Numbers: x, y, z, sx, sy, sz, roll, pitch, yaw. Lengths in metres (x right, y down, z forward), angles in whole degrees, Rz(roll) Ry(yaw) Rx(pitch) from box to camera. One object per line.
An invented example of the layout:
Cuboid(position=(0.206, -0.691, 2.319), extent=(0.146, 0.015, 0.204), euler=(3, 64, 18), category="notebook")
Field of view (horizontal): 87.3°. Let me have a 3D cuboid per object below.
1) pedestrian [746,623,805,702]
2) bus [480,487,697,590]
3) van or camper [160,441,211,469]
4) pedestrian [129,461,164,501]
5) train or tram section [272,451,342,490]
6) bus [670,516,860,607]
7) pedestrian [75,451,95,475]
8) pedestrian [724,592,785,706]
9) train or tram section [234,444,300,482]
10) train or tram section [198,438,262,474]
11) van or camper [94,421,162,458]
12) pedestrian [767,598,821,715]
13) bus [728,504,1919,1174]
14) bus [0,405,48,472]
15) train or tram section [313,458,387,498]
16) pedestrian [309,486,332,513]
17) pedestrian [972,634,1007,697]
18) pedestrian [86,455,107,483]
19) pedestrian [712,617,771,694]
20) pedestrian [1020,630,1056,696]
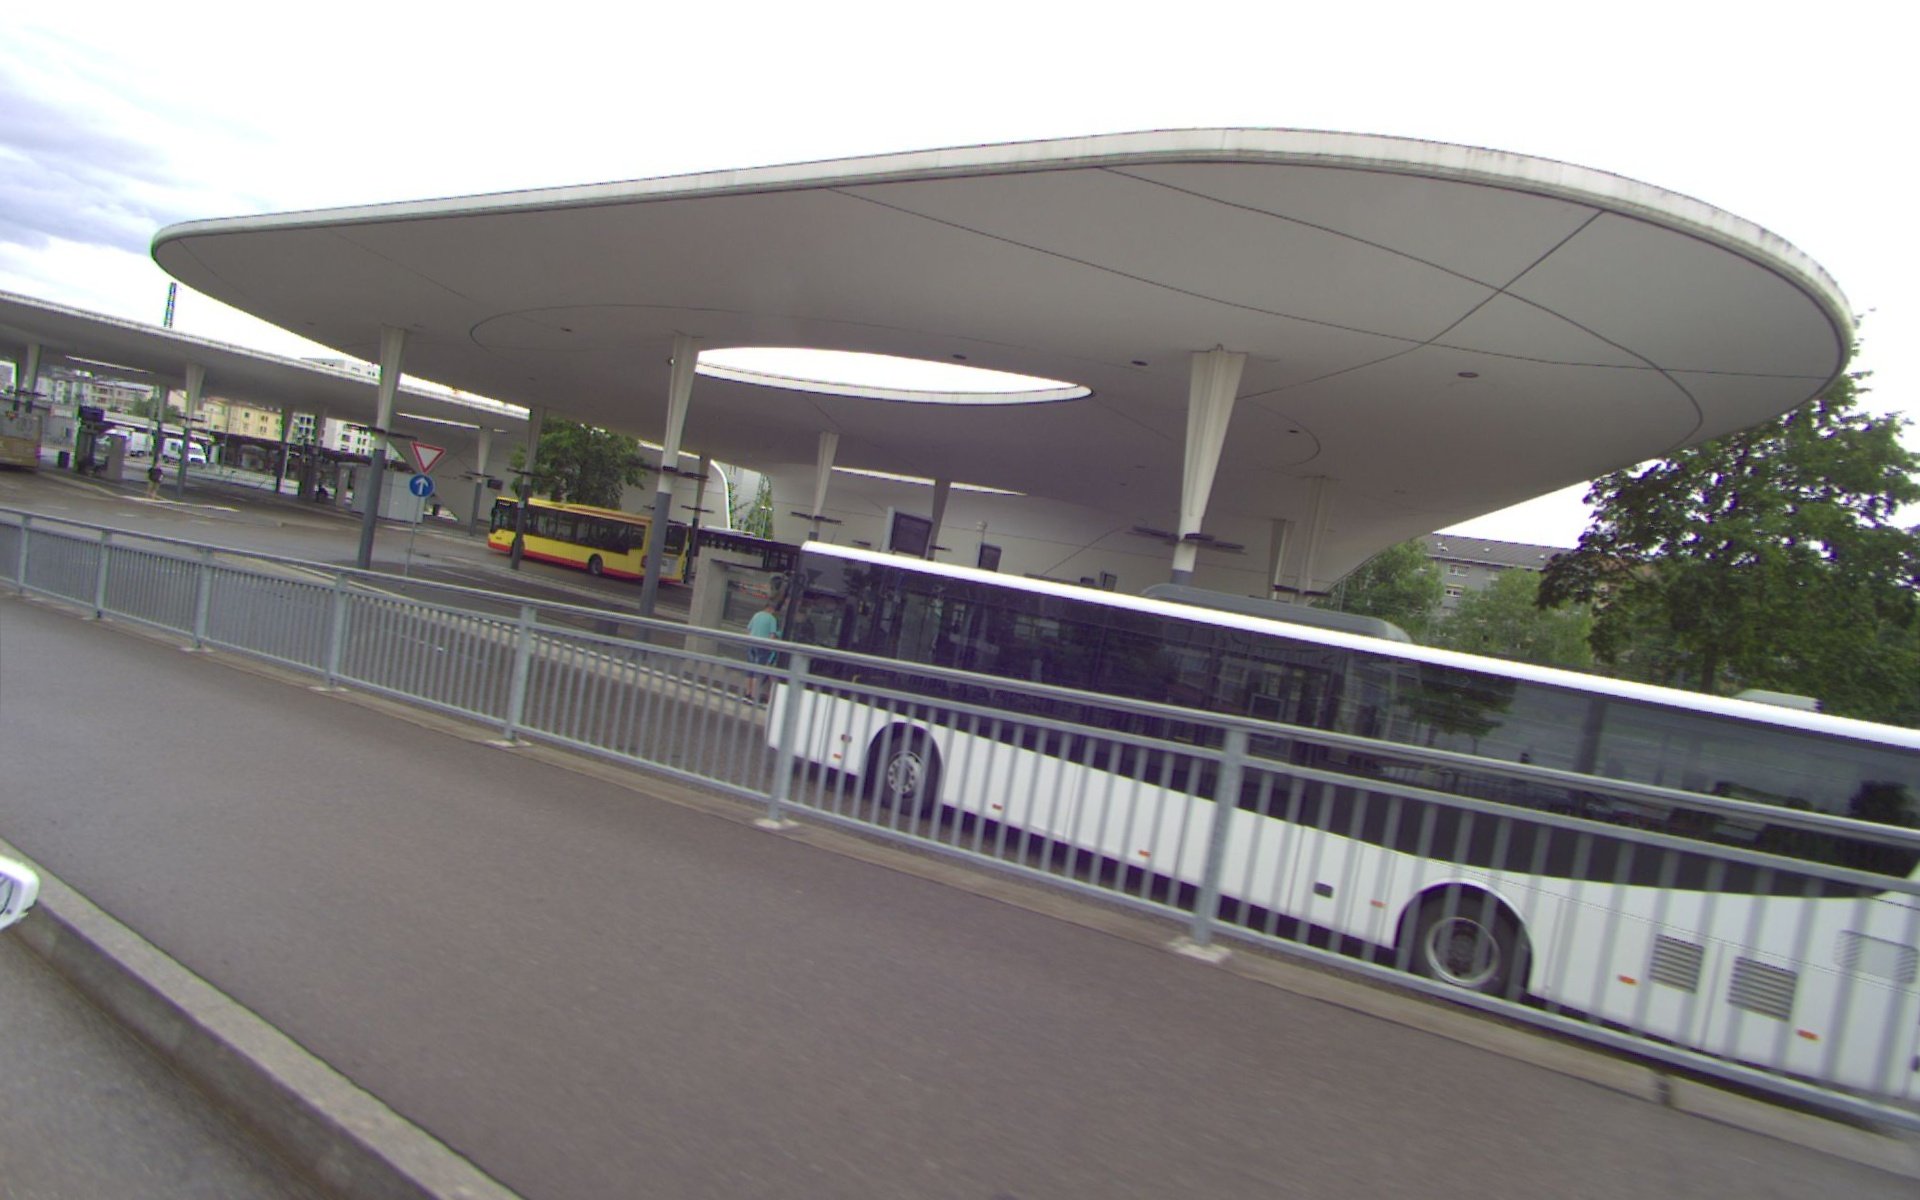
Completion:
Cuboid(position=(-3.436, 1.141, 18.767), extent=(0.637, 1.273, 0.951), euler=(10, 6, 8), category="pedestrian")
Cuboid(position=(-18.309, -3.102, 49.032), extent=(11.935, 3.299, 2.791), euler=(10, 3, 31), category="bus")
Cuboid(position=(-76.529, -14.333, 99.363), extent=(5.389, 2.127, 1.997), euler=(8, -1, 32), category="van or camper")
Cuboid(position=(-38.581, -5.628, 47.714), extent=(1.002, 1.707, 0.718), euler=(8, 4, 6), category="pedestrian")
Cuboid(position=(-89.603, -17.840, 138.001), extent=(11.421, 3.723, 3.139), euler=(11, 0, 32), category="train or tram section")
Cuboid(position=(-11.128, -2.253, 56.304), extent=(11.771, 3.301, 2.466), euler=(11, 5, 32), category="bus")
Cuboid(position=(-50.031, -7.847, 57.533), extent=(0.789, 1.243, 0.626), euler=(6, 4, -40), category="pedestrian")
Cuboid(position=(-3.650, 0.863, 17.934), extent=(0.637, 1.910, 0.586), euler=(11, 2, 2), category="pedestrian")
Cuboid(position=(-99.182, -19.624, 143.976), extent=(11.421, 3.701, 3.139), euler=(11, 0, 32), category="train or tram section")
Cuboid(position=(-109.028, -21.487, 150.161), extent=(12.117, 3.701, 3.139), euler=(11, 0, 32), category="train or tram section")
Cuboid(position=(-83.100, -16.004, 100.542), extent=(2.083, 2.587, 4.617), euler=(8, -1, 31), category="van or camper")
Cuboid(position=(-2.910, 0.979, 17.687), extent=(0.638, 1.930, 0.584), euler=(8, 4, -7), category="pedestrian")
Cuboid(position=(3.001, 1.589, 11.473), extent=(12.218, 3.400, 2.851), euler=(12, 0, 32), category="bus")
Cuboid(position=(-52.841, -9.085, 53.936), extent=(11.888, 3.084, 2.722), euler=(10, 4, 32), category="bus")
Cuboid(position=(-80.078, -16.052, 131.992), extent=(11.421, 3.720, 3.139), euler=(10, 0, 32), category="train or tram section")
Cuboid(position=(-43.408, -6.824, 68.327), extent=(0.892, 1.605, 0.796), euler=(9, 1, 26), category="pedestrian")
Cuboid(position=(0.834, 1.849, 28.320), extent=(0.548, 1.676, 0.568), euler=(11, 4, 38), category="pedestrian")
Cuboid(position=(-48.384, -7.329, 56.386), extent=(0.789, 1.396, 0.626), euler=(6, 4, -40), category="pedestrian")
Cuboid(position=(-4.145, 1.043, 19.166), extent=(0.637, 1.273, 0.951), euler=(10, 6, 8), category="pedestrian")
Cuboid(position=(2.107, 1.707, 27.387), extent=(0.629, 1.676, 0.641), euler=(8, 4, -8), category="pedestrian")
